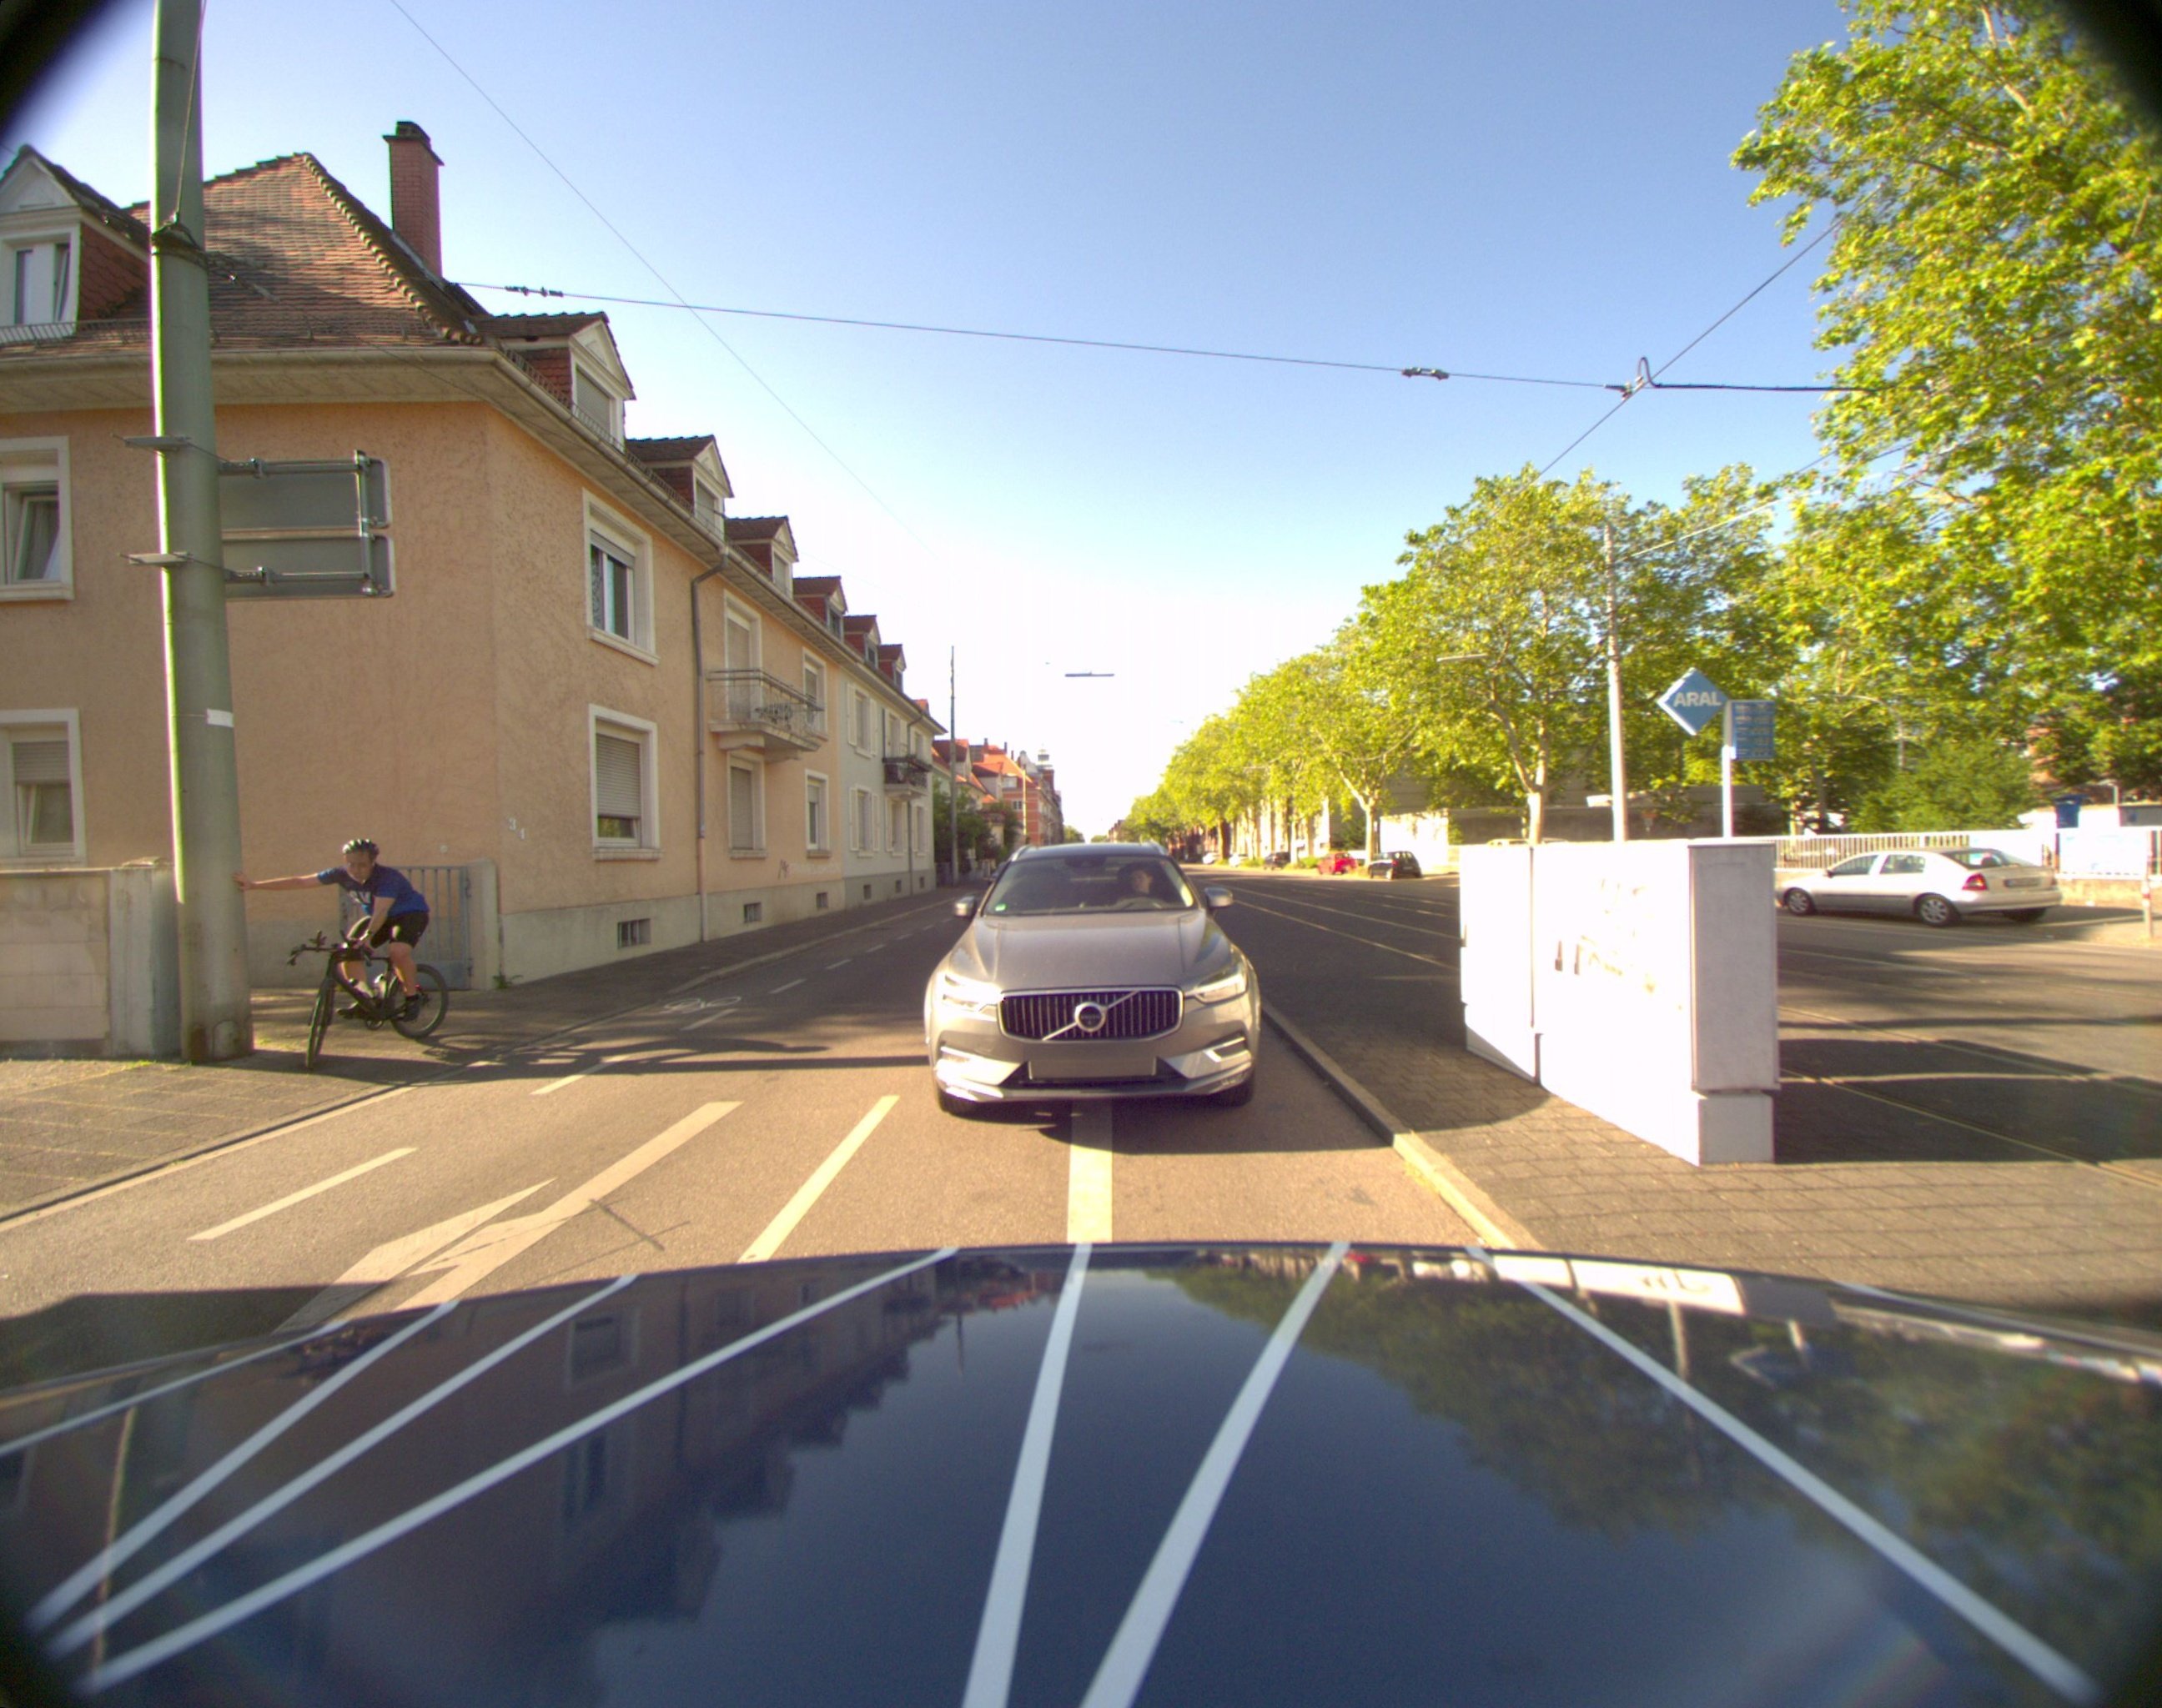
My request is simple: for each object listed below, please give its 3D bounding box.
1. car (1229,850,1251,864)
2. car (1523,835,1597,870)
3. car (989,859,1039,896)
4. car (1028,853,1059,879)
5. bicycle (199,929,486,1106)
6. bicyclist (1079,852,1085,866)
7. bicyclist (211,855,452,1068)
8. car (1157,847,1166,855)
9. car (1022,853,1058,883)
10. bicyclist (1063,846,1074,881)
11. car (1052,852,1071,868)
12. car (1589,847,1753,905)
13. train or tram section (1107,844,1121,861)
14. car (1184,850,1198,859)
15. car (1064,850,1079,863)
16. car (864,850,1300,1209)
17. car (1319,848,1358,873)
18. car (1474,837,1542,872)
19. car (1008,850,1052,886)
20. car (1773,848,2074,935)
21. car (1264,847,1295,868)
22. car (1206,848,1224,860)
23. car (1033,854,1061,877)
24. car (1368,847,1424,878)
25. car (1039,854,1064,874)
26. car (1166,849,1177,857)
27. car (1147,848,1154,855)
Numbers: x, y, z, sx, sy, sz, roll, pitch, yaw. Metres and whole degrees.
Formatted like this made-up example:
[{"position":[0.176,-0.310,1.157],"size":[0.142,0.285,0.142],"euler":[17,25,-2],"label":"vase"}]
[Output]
[{"position":[17.469,0.295,83.541],"size":[1.695,1.440,3.749],"euler":[-3,0,1],"label":"car"},{"position":[23.885,-0.080,38.023],"size":[1.599,1.583,3.304],"euler":[-2,0,1],"label":"car"},{"position":[-3.218,1.084,37.045],"size":[1.695,1.571,3.815],"euler":[-3,0,5],"label":"car"},{"position":[-2.626,0.836,54.004],"size":[1.793,1.673,3.814],"euler":[-3,0,2],"label":"car"},{"position":[-5.996,1.259,6.339],"size":[0.592,1.062,1.775],"euler":[4,0,1],"label":"bicycle"},{"position":[0.134,0.592,91.938],"size":[0.685,1.611,0.855],"euler":[-2,1,1],"label":"bicyclist"},{"position":[-6.200,0.837,6.355],"size":[1.051,1.599,0.885],"euler":[4,0,1],"label":"bicyclist"},{"position":[20.249,-0.724,191.412],"size":[1.695,1.775,3.749],"euler":[-3,0,1],"label":"car"},{"position":[-2.580,0.854,48.483],"size":[1.793,1.673,3.814],"euler":[-3,0,2],"label":"car"},{"position":[-0.705,0.534,42.972],"size":[0.519,1.922,0.946],"euler":[-1,-2,3],"label":"bicyclist"},{"position":[-2.145,0.636,85.368],"size":[1.793,1.673,3.814],"euler":[-3,0,2],"label":"car"},{"position":[16.416,0.561,21.415],"size":[1.695,1.395,3.749],"euler":[-3,0,1],"label":"car"},{"position":[7.394,-0.371,172.367],"size":[2.717,3.643,12.653],"euler":[-1,0,0],"label":"train or tram section"},{"position":[18.206,0.074,125.521],"size":[1.695,1.440,3.749],"euler":[-3,0,1],"label":"car"},{"position":[-1.286,0.366,107.101],"size":[1.793,1.673,3.814],"euler":[-3,0,2],"label":"car"},{"position":[0.035,0.827,5.752],"size":[1.998,1.628,4.306],"euler":[-2,0,1],"label":"car"},{"position":[16.883,0.436,49.865],"size":[1.599,1.498,2.622],"euler":[-3,0,1],"label":"car"},{"position":[21.551,0.016,38.471],"size":[1.599,1.606,3.304],"euler":[-2,0,1],"label":"car"},{"position":[-2.819,0.742,42.818],"size":[1.793,1.828,5.149],"euler":[-3,0,2],"label":"car"},{"position":[16.230,0.641,14.980],"size":[1.695,1.395,3.813],"euler":[-3,0,1],"label":"car"},{"position":[17.143,0.276,65.887],"size":[1.695,1.648,3.749],"euler":[-3,0,1],"label":"car"},{"position":[17.799,0.028,100.712],"size":[1.695,1.440,3.749],"euler":[-3,0,1],"label":"car"},{"position":[-2.714,0.887,61.028],"size":[1.793,1.673,3.814],"euler":[-3,0,2],"label":"car"},{"position":[16.890,0.428,40.894],"size":[1.599,1.498,3.304],"euler":[-3,0,1],"label":"car"},{"position":[-2.546,0.860,67.073],"size":[1.793,1.673,3.814],"euler":[-3,0,2],"label":"car"},{"position":[19.276,-0.191,161.875],"size":[1.695,1.440,3.749],"euler":[-3,0,1],"label":"car"},{"position":[19.666,-0.619,214.806],"size":[1.695,1.775,3.749],"euler":[-3,0,1],"label":"car"}]
